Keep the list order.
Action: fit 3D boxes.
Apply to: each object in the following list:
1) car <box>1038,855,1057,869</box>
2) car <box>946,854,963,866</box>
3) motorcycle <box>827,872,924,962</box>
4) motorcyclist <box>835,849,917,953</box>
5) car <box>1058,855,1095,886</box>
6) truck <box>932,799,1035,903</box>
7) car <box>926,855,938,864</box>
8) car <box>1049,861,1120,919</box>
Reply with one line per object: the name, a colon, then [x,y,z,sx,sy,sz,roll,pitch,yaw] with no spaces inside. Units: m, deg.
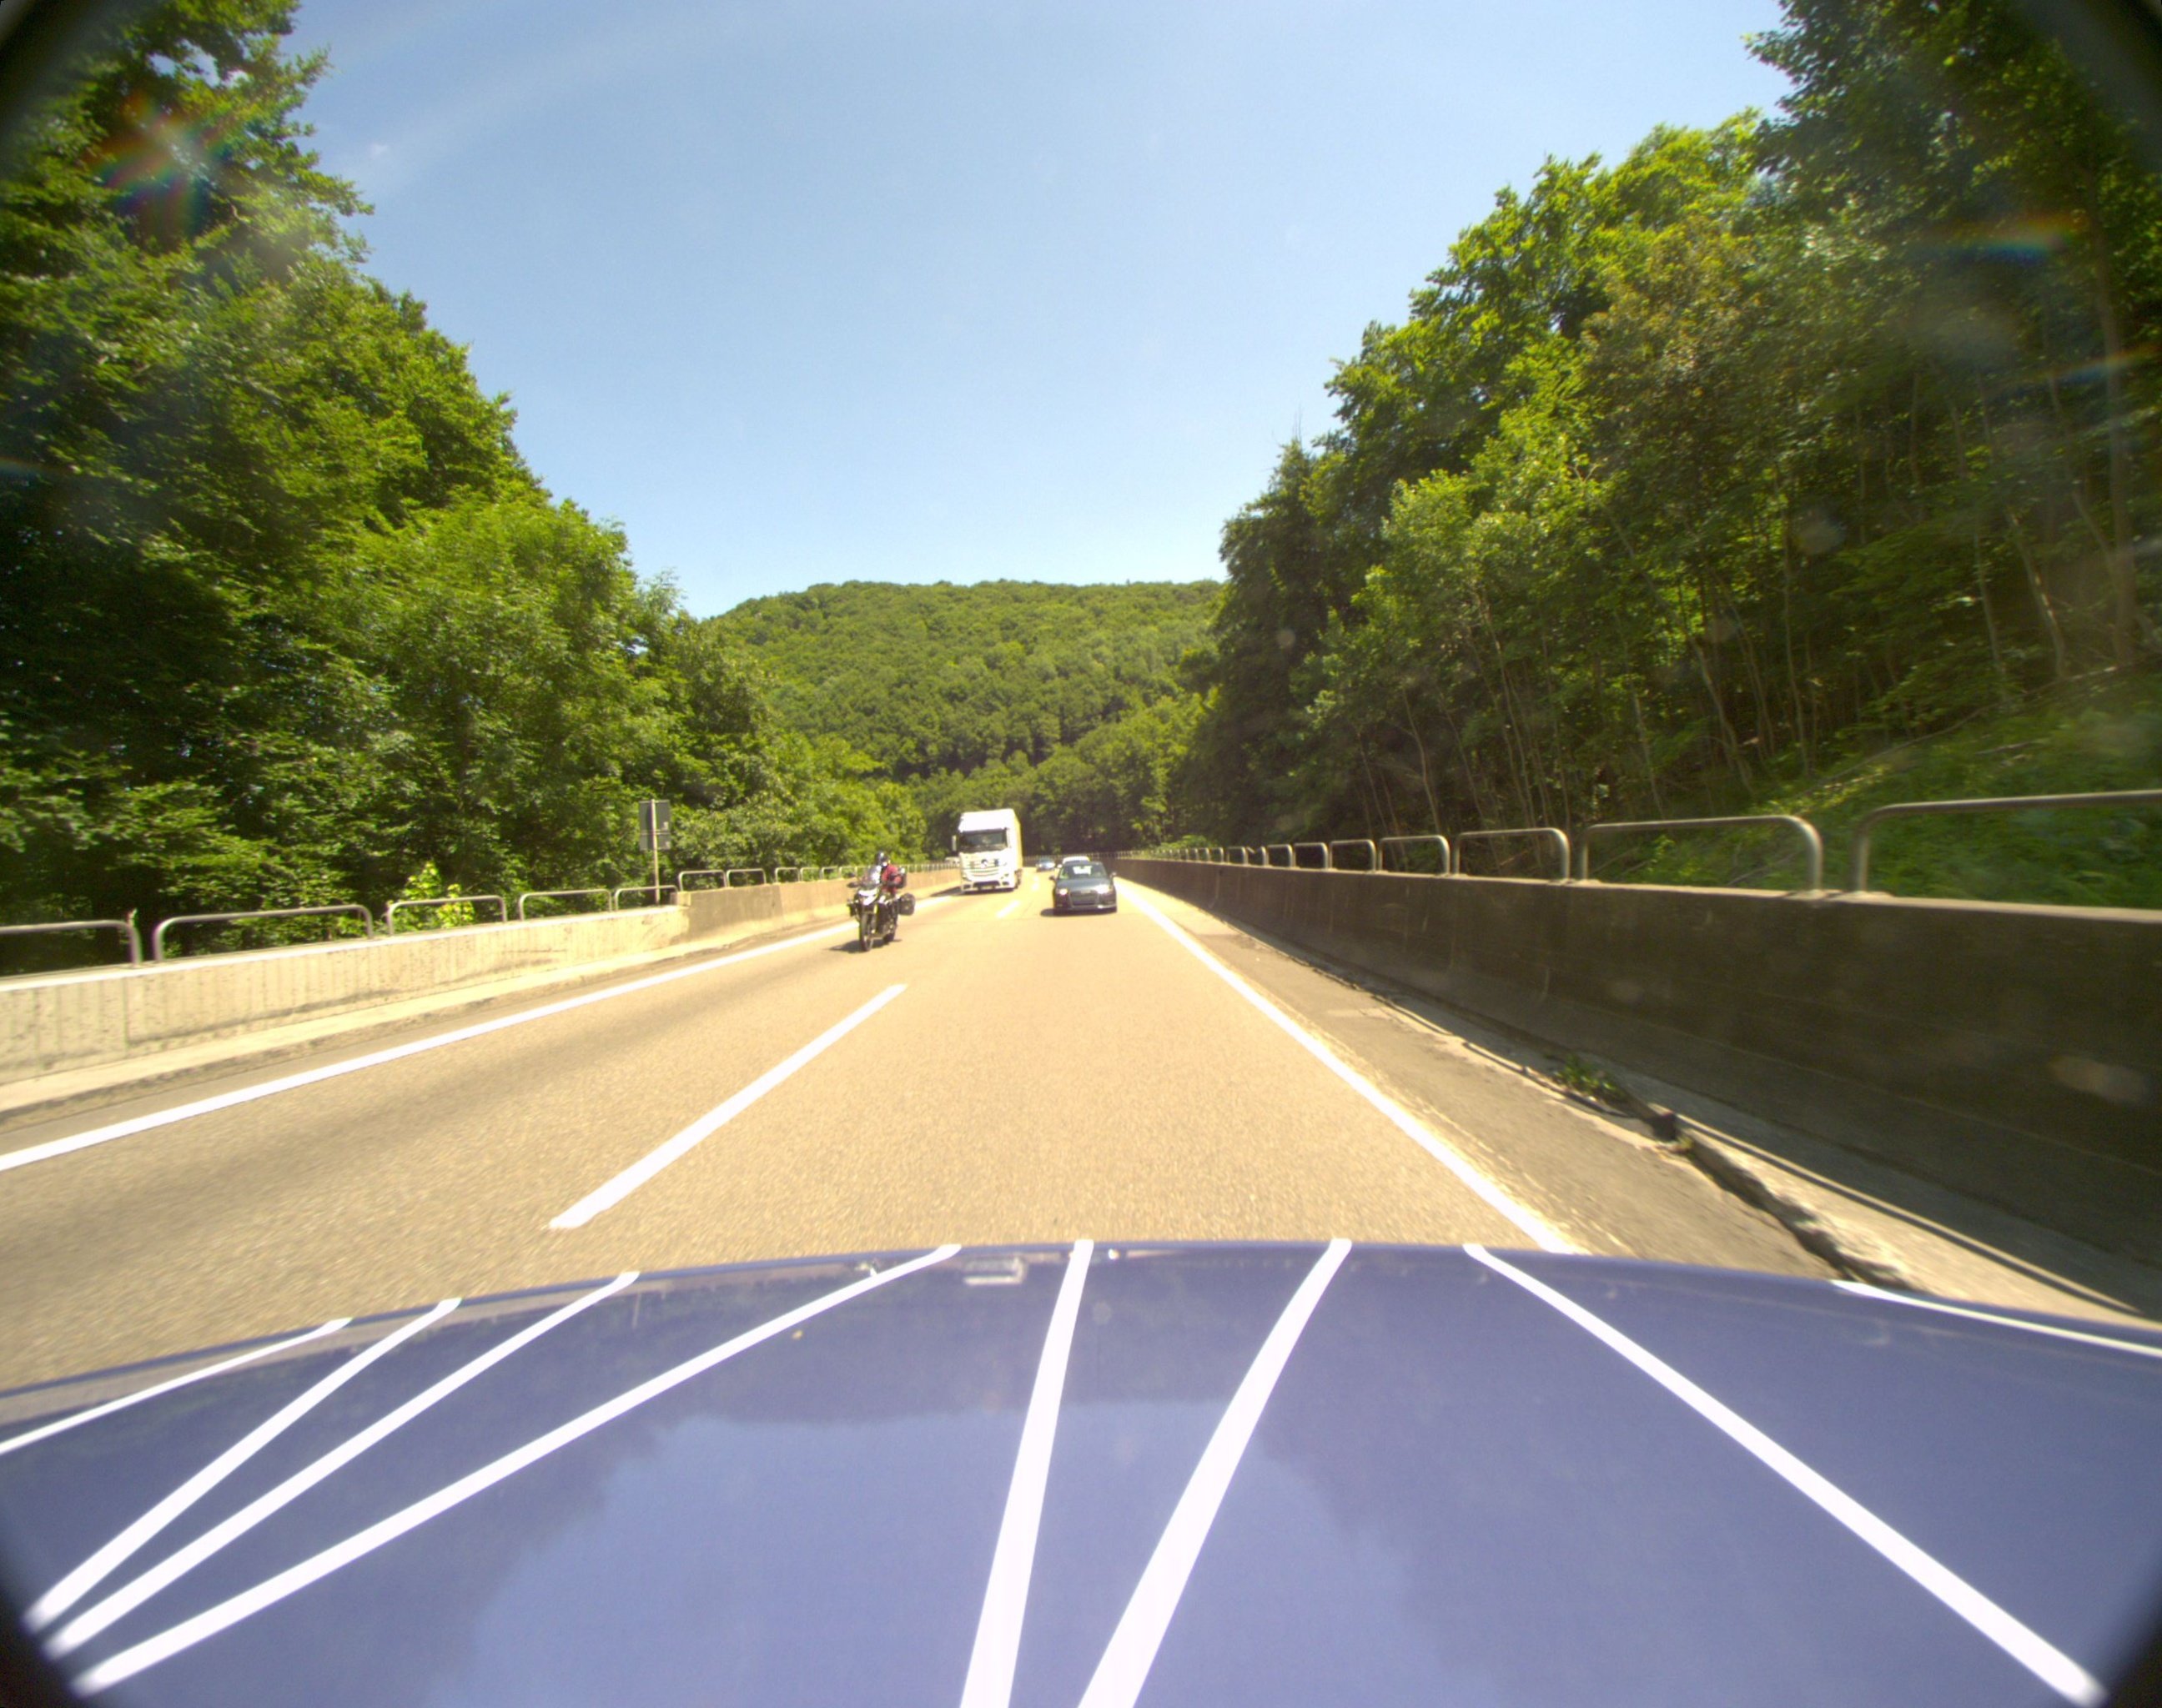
car: [-3.609,0.850,81.841,1.756,1.480,3.980,-2,0,-6]
car: [-21.081,1.003,126.545,2.002,2.002,3.994,-2,0,-19]
motorcycle: [-3.756,1.099,14.194,0.975,1.411,2.681,-2,0,1]
motorcyclist: [-3.766,0.833,14.078,1.063,1.790,1.338,-2,1,1]
car: [-0.266,0.826,39.982,1.756,1.460,3.981,-2,0,-2]
truck: [-4.554,-0.184,39.980,2.969,4.108,16.705,-5,0,0]
car: [-32.590,1.224,165.842,2.001,2.002,3.994,-2,0,-18]
car: [0.075,0.938,21.408,1.755,1.350,4.121,-2,0,0]
